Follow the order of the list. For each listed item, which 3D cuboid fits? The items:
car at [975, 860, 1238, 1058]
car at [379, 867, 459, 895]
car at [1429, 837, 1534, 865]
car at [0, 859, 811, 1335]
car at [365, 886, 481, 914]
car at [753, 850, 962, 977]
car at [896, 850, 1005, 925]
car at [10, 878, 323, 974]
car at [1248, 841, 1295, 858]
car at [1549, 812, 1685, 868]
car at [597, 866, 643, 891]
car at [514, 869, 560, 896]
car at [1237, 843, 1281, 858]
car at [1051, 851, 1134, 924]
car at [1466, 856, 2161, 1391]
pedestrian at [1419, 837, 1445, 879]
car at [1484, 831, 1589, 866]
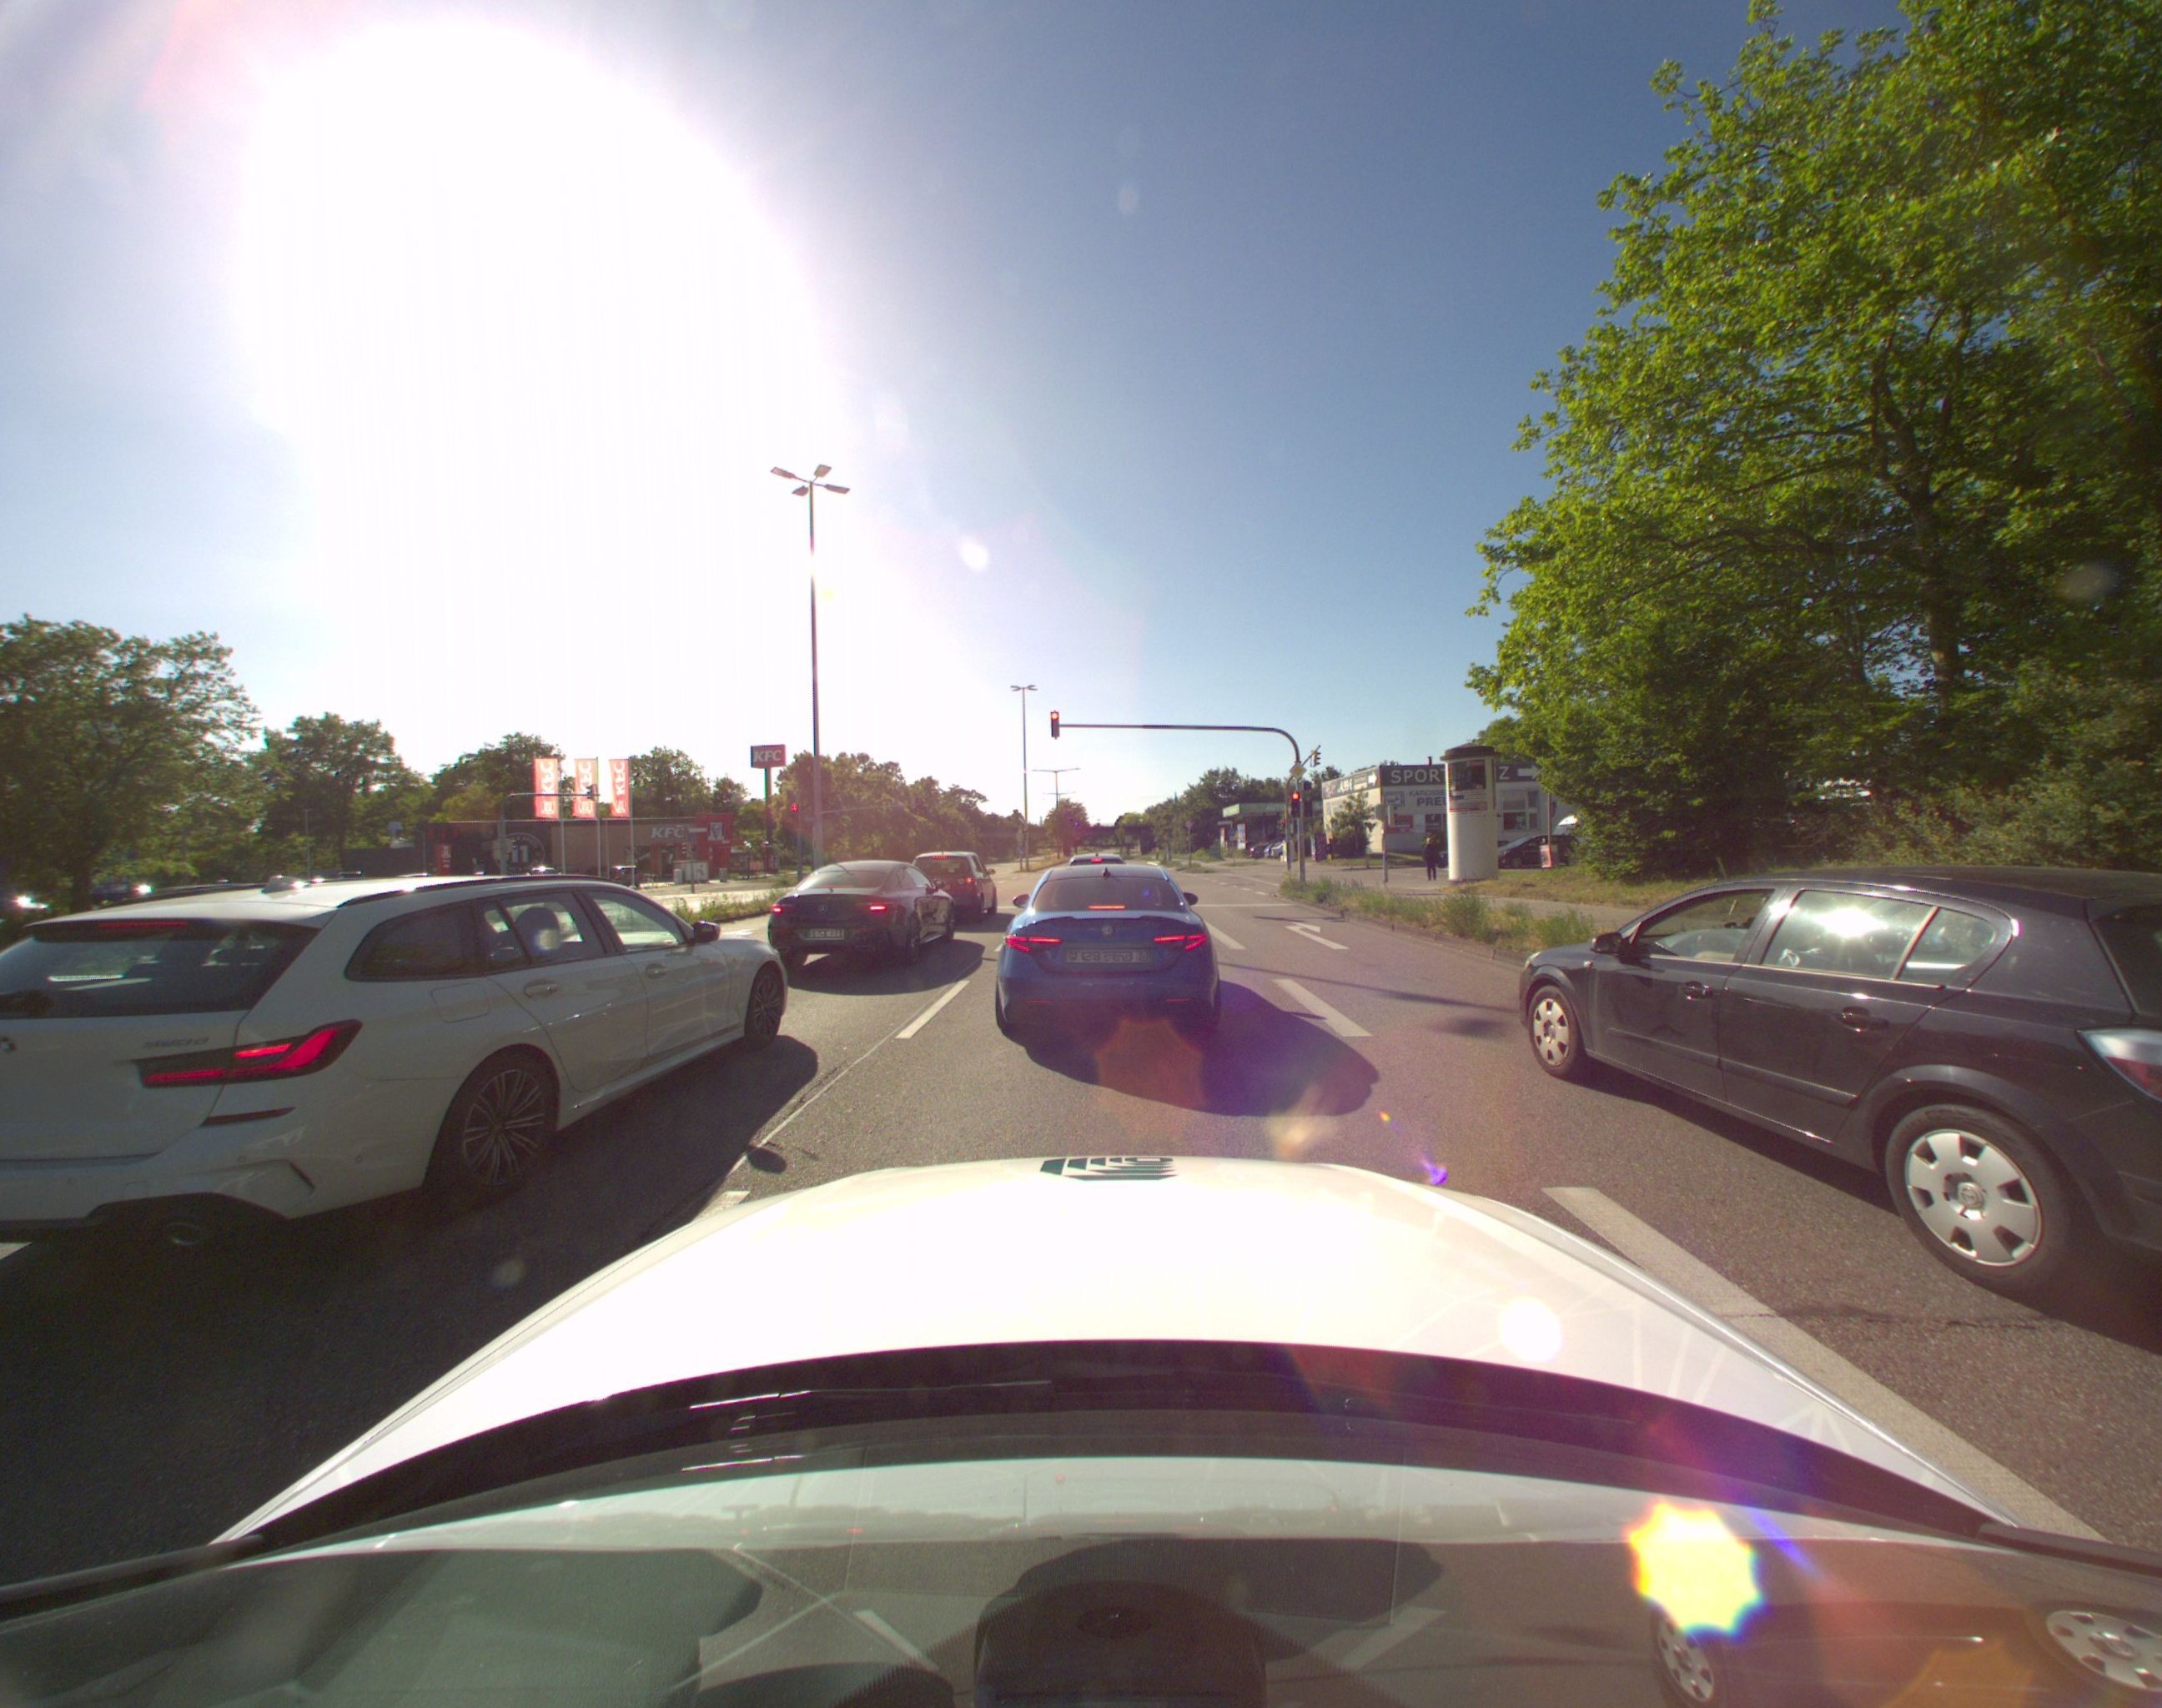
[{"bbox_3d":[0.294,0.774,7.772,1.901,1.423,3.722,0,0,3],"label":"car"},{"bbox_3d":[-45.726,1.811,56.342,1.975,1.813,3.794,-1,-1,25],"label":"car"},{"bbox_3d":[21.370,-0.153,43.557,4.803,1.468,1.758,0,-1,0],"label":"car"},{"bbox_3d":[-3.412,0.815,4.950,1.805,1.486,4.599,-1,0,2],"label":"car"},{"bbox_3d":[-32.079,2.224,39.787,4.070,1.252,1.871,0,-1,0],"label":"car"},{"bbox_3d":[-3.102,0.729,12.378,1.805,1.551,4.544,-1,0,1],"label":"car"},{"bbox_3d":[-2.926,0.709,19.165,1.806,1.551,4.353,0,0,0],"label":"car"},{"bbox_3d":[-20.397,1.500,18.451,1.787,1.726,4.345,-1,0,22],"label":"car"},{"bbox_3d":[17.757,-0.374,75.982,3.971,1.552,2.001,0,-1,2],"label":"car"},{"bbox_3d":[28.635,-0.715,43.675,5.812,2.672,2.001,-3,-1,2],"label":"car"},{"bbox_3d":[-33.786,1.751,59.607,1.946,1.740,4.046,0,-1,-45],"label":"car"},{"bbox_3d":[-37.417,1.905,55.981,1.946,1.740,4.046,0,-1,-45],"label":"car"},{"bbox_3d":[18.479,-0.326,84.724,3.995,1.552,1.989,0,-1,-16],"label":"car"},{"bbox_3d":[0.357,0.697,18.618,1.696,1.497,3.722,0,0,3],"label":"car"},{"bbox_3d":[3.871,0.740,4.296,1.727,1.442,4.373,0,0,2],"label":"car"},{"bbox_3d":[14.290,0.165,33.186,0.814,1.669,0.514,0,-1,1],"label":"pedestrian"},{"bbox_3d":[22.541,-0.255,40.423,4.291,1.650,1.638,0,-1,1],"label":"car"}]
